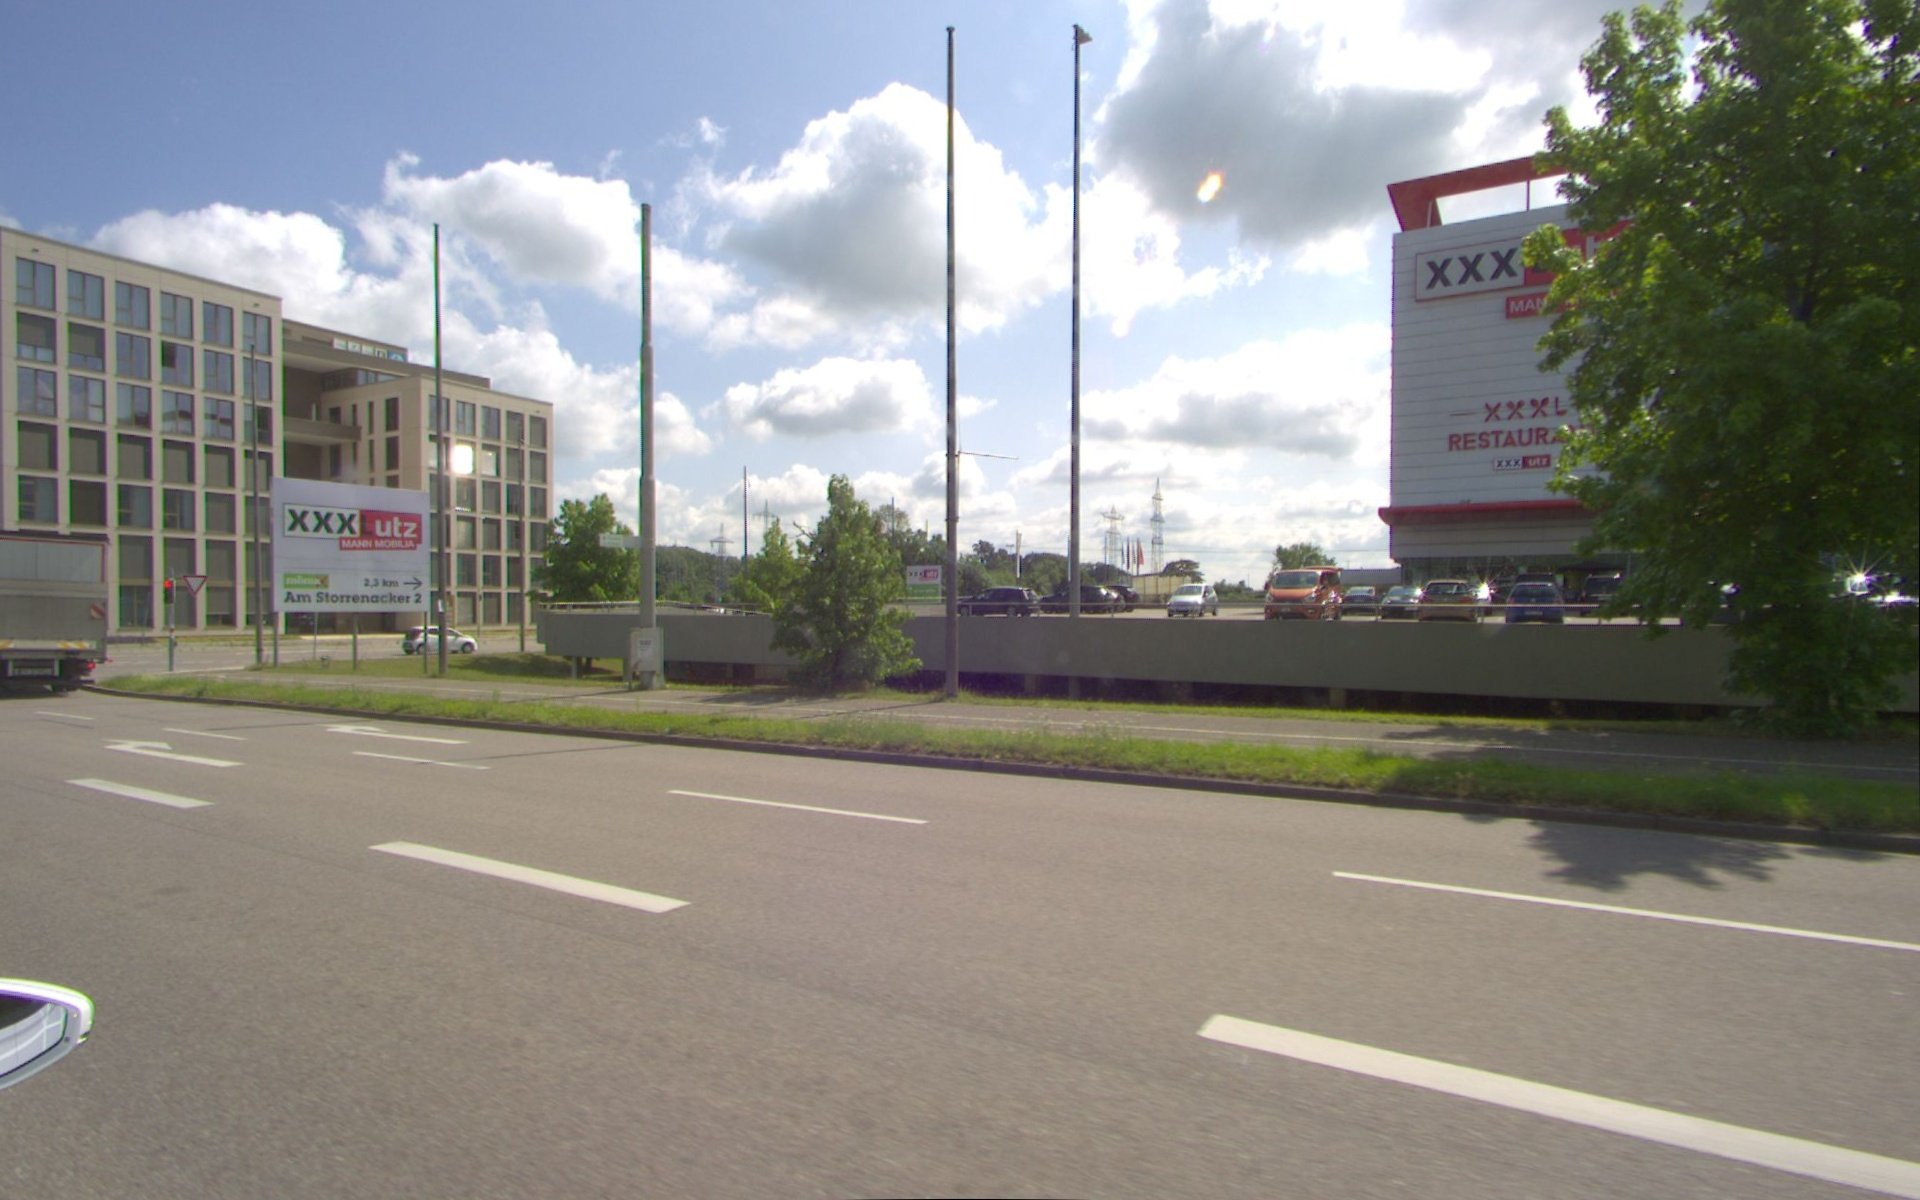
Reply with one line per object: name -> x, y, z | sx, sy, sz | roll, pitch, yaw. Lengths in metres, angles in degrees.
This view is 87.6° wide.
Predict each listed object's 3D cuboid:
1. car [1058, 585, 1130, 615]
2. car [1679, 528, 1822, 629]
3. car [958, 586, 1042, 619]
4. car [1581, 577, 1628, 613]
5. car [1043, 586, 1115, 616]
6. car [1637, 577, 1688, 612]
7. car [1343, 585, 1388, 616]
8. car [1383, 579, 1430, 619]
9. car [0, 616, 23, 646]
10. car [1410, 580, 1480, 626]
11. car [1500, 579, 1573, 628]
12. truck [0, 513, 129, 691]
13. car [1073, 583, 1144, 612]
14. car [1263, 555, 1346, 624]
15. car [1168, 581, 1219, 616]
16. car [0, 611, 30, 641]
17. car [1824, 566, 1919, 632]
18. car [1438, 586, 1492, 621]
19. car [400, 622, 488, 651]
car -> 8.087, 0.009, 60.441 | 3.937, 1.751, 1.958 | 0, -1, 28
car -> 20.845, -0.421, 26.682 | 2.030, 2.396, 5.655 | -1, -2, 29
car -> 1.988, 0.137, 49.872 | 3.807, 1.540, 1.869 | -1, -2, 28
car -> 28.531, -0.193, 44.414 | 1.611, 1.461, 3.891 | 0, -1, 31
car -> 6.902, 0.059, 58.112 | 3.807, 1.621, 1.742 | 0, -1, 28
car -> 30.470, -0.224, 43.480 | 1.529, 1.388, 3.432 | 0, -1, 31
car -> 20.053, 0.039, 49.480 | 1.561, 1.429, 3.521 | 0, -1, 31
car -> 19.367, -0.011, 43.364 | 1.610, 1.595, 3.895 | 0, -2, 28
car -> -50.088, 1.548, 50.419 | 1.768, 1.509, 3.888 | 0, -1, 31
car -> 16.820, 0.164, 34.602 | 1.956, 1.472, 4.864 | -1, -2, 29
car -> 19.122, 0.175, 33.383 | 1.956, 1.503, 4.864 | -1, -2, 29
truck -> -24.236, 0.135, 26.027 | 8.765, 3.991, 3.112 | -1, -2, 44
car -> 9.329, -0.162, 62.833 | 3.937, 1.751, 1.993 | 0, -1, 28
car -> 12.687, -0.291, 36.676 | 1.957, 2.223, 5.157 | -1, -2, 30
car -> 11.546, -0.050, 49.396 | 1.608, 1.596, 3.897 | 1, -1, 26
car -> -53.107, 1.369, 53.268 | 1.967, 1.628, 4.985 | 1, -1, 24
car -> 23.292, 0.016, 25.047 | 1.721, 1.534, 3.984 | -1, -2, 29
car -> 24.021, 0.178, 47.565 | 1.971, 1.563, 3.981 | 0, -1, 31
car -> -27.340, 1.913, 53.181 | 1.671, 1.485, 3.844 | 0, -1, 32
